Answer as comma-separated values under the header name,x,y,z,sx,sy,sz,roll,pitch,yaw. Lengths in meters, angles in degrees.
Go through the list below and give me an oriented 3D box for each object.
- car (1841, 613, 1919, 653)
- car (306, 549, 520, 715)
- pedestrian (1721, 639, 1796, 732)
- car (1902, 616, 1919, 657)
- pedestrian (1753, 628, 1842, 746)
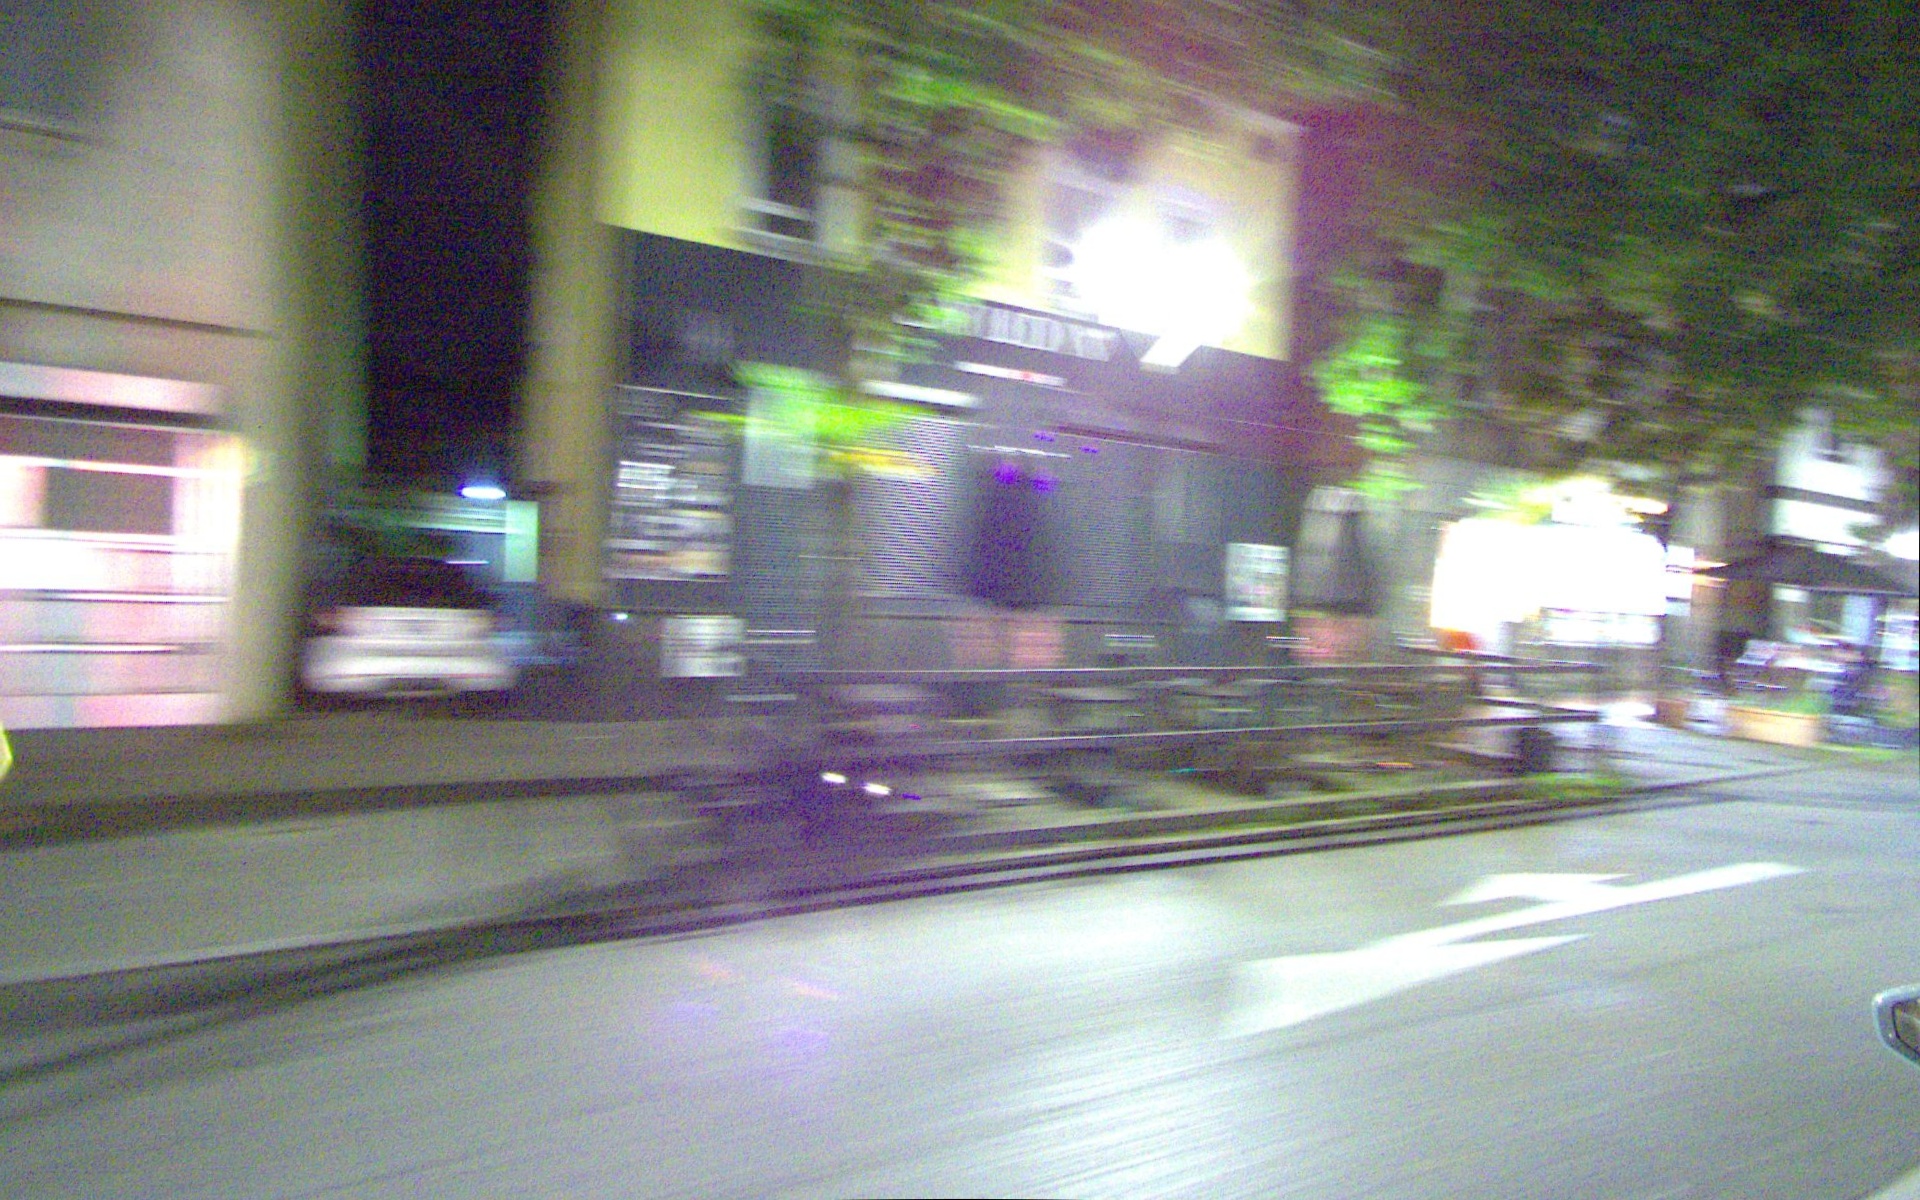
name,x,y,z,sx,sy,sz,roll,pitch,yaw
car,38.149,1.336,41.075,1.707,1.473,4.000,2,1,19
car,-6.212,0.256,11.535,1.797,1.547,3.970,2,1,-28
pedestrian,10.682,1.124,13.435,0.671,1.179,0.571,1,1,-34
car,36.483,1.401,36.237,1.703,1.521,4.469,2,1,15
pedestrian,10.473,1.065,12.572,0.570,1.397,0.672,1,1,-33
